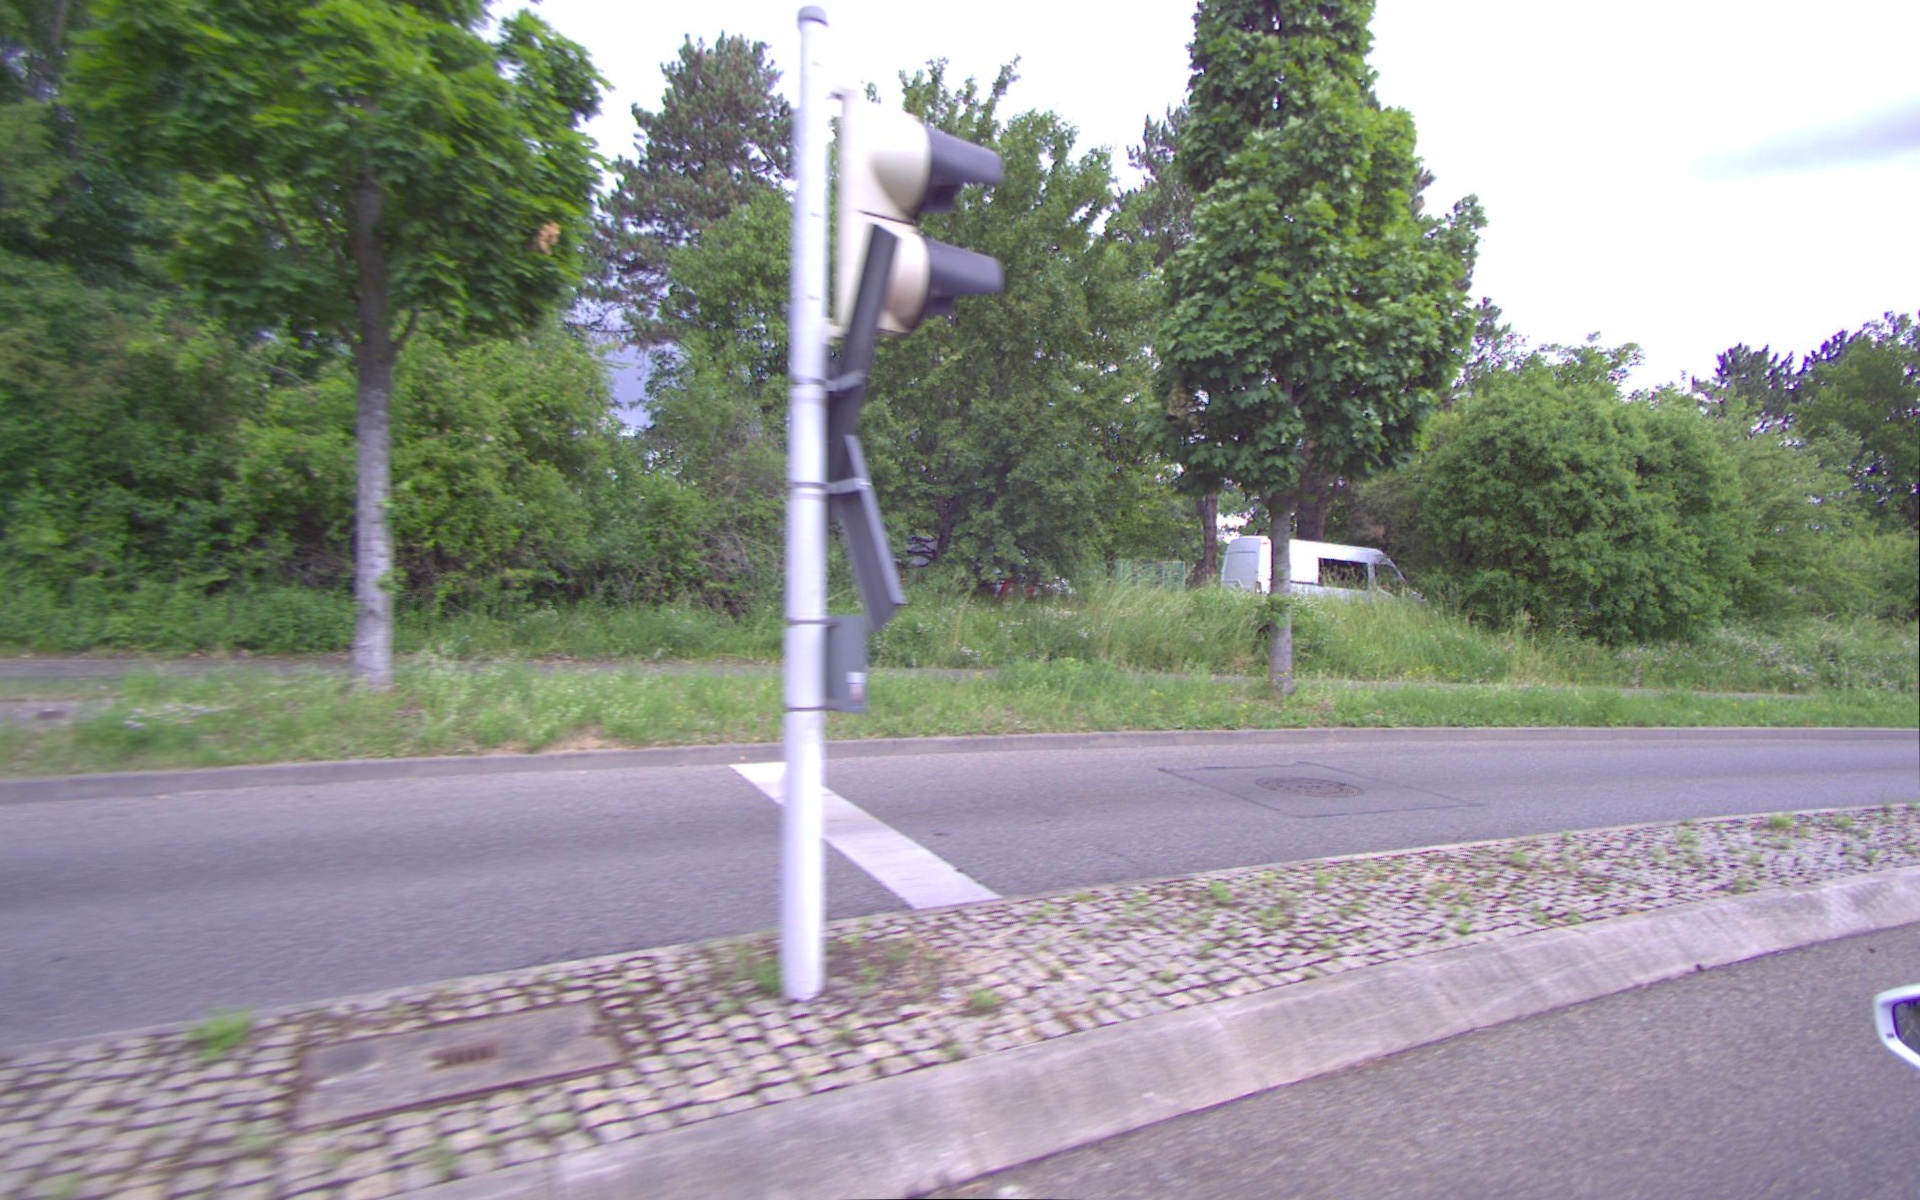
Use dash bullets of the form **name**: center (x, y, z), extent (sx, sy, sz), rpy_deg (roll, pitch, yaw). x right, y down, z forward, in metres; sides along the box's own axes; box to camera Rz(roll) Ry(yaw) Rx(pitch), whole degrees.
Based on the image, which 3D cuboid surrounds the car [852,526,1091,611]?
- **car**: center (0.226, -0.687, 23.532), extent (5.232, 1.748, 2.140), rpy_deg (1, 0, -13)

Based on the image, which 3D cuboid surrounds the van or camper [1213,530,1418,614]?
- **van or camper**: center (8.967, -0.662, 25.471), extent (4.550, 1.902, 1.995), rpy_deg (1, 0, -13)
